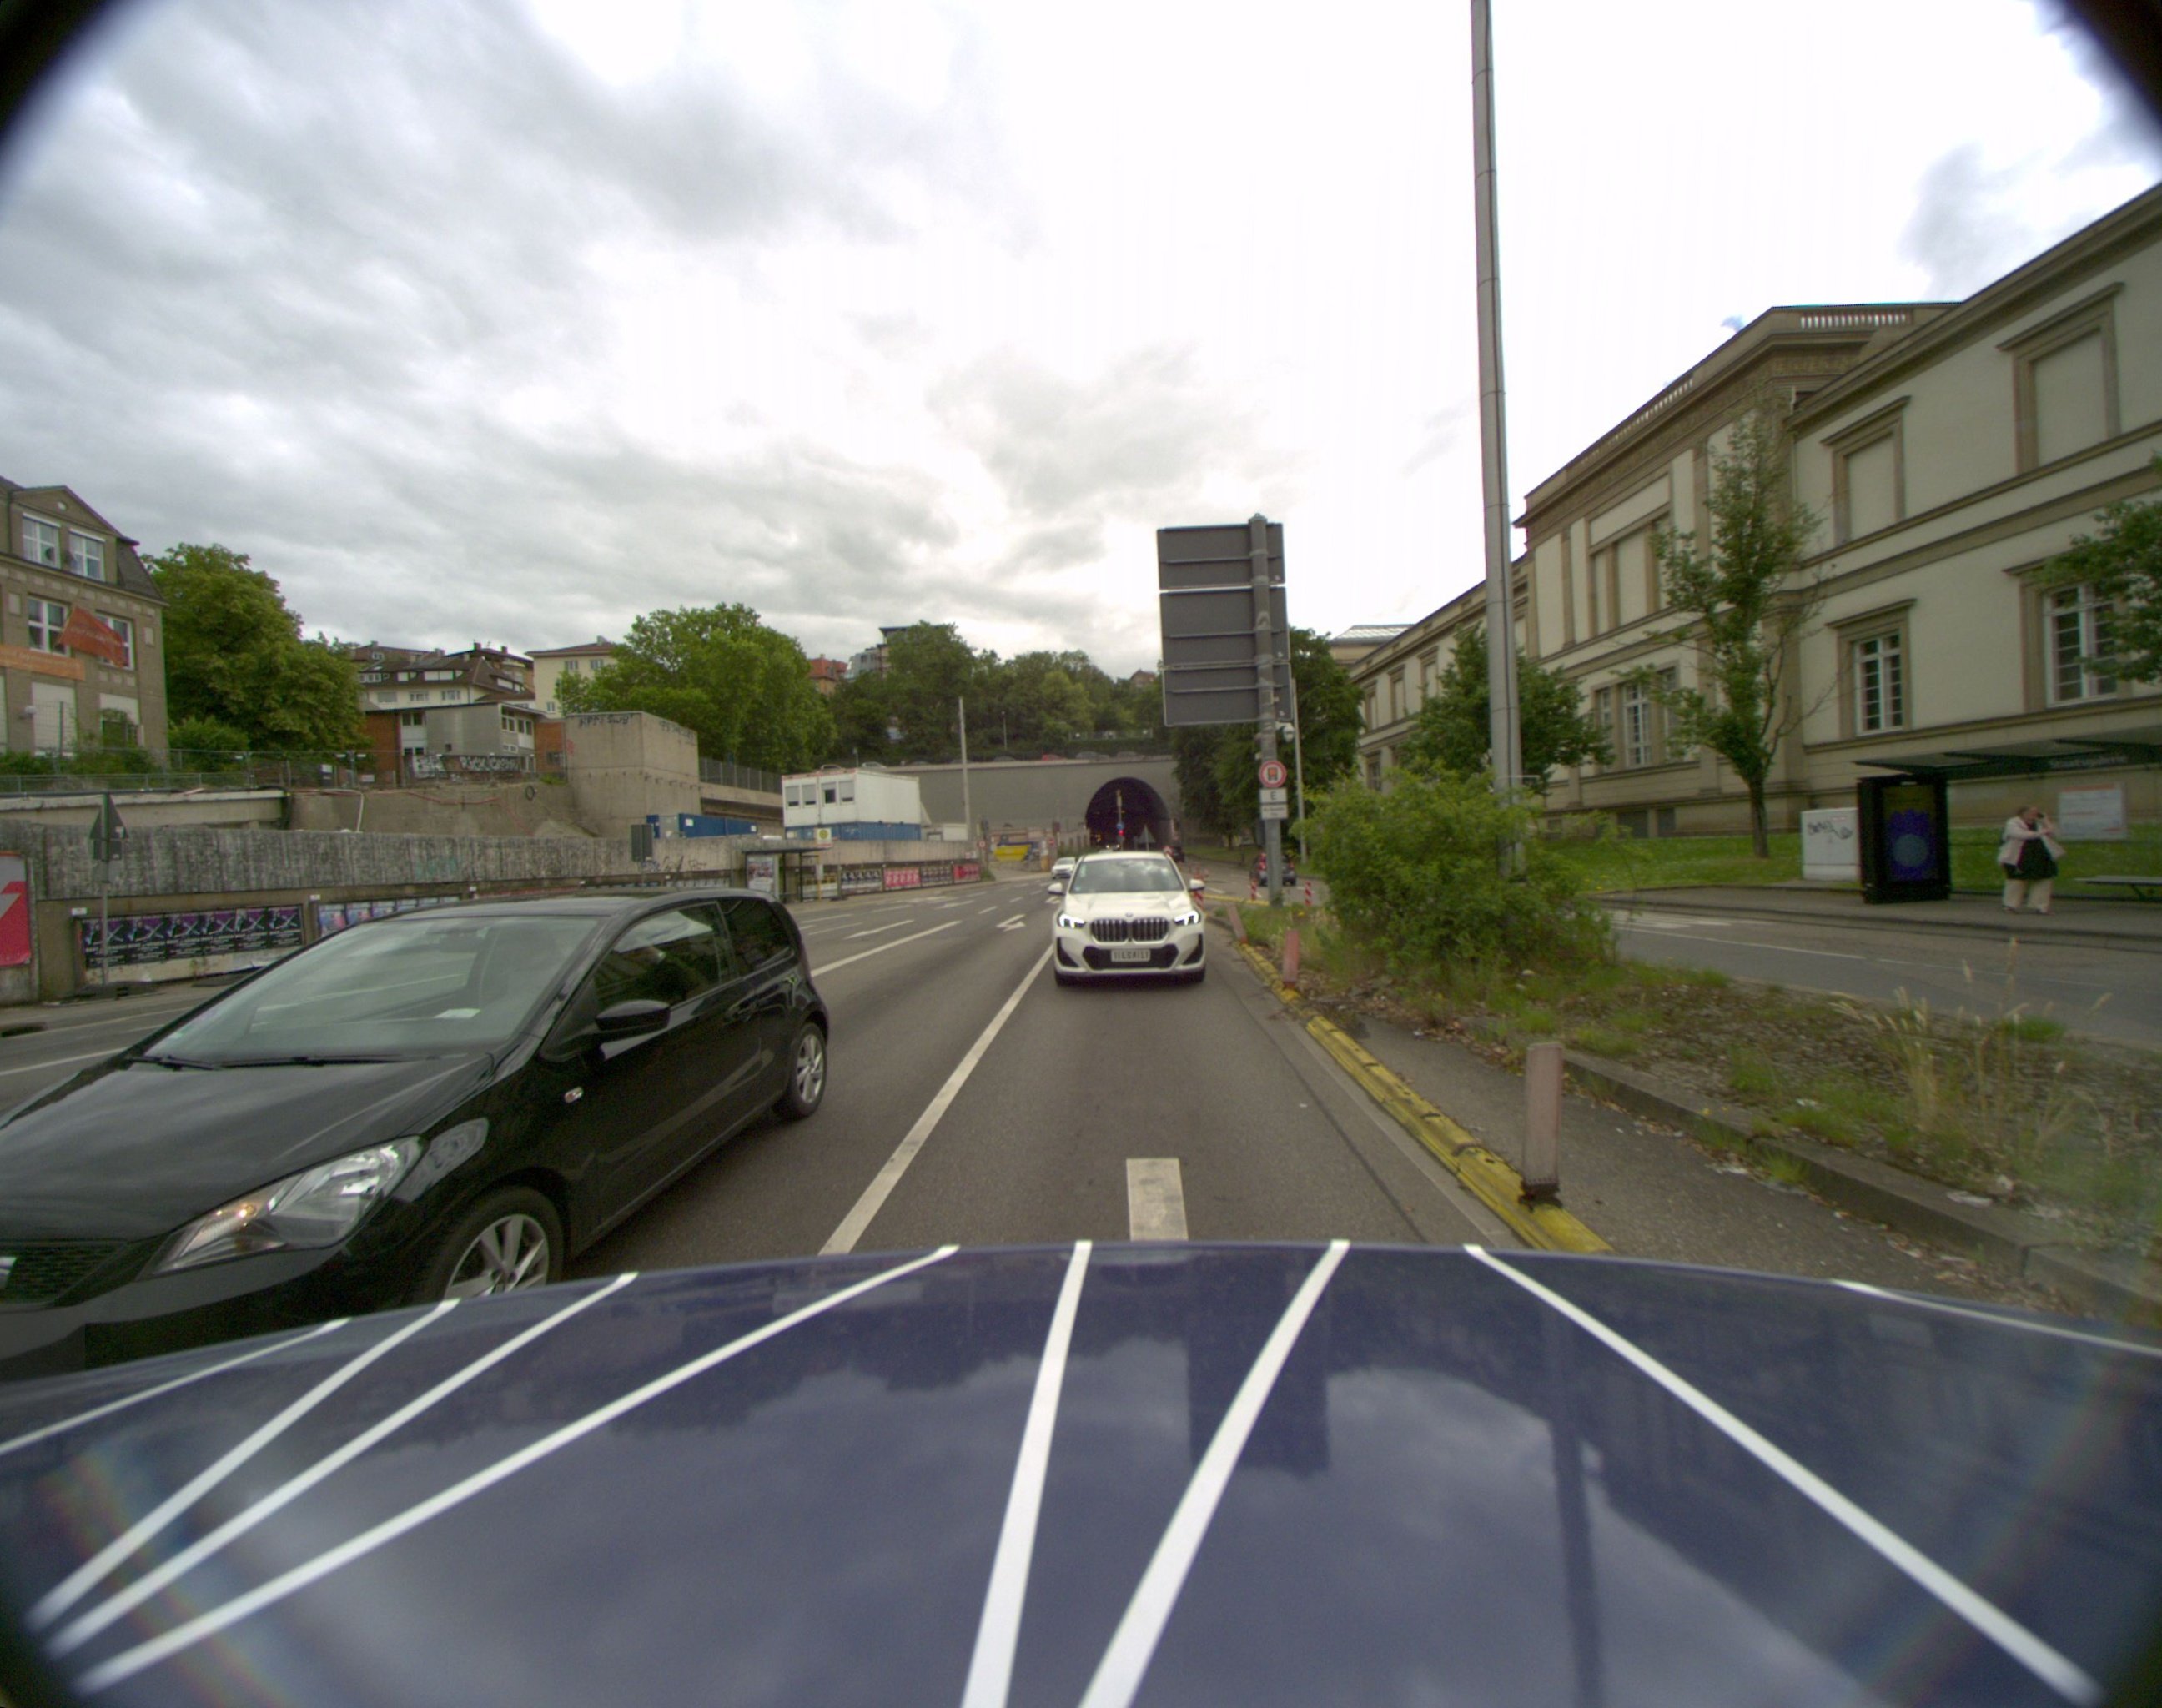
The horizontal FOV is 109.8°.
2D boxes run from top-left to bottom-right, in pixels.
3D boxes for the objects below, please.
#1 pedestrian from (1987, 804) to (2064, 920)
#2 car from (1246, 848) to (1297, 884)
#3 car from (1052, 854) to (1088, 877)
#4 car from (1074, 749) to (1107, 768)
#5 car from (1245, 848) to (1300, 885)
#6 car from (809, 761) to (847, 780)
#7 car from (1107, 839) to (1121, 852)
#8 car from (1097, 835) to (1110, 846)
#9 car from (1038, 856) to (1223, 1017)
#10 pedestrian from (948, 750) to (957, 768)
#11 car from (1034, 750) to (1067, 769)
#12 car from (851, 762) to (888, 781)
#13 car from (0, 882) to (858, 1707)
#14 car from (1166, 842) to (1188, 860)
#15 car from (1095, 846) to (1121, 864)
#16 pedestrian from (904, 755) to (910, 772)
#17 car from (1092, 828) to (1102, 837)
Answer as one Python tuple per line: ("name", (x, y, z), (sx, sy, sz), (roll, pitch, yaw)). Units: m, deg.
("pedestrian", (14.135, 0.123, 11.386), (0.586, 1.685, 0.459), (-2, 1, 35))
("car", (8.728, 0.534, 35.038), (1.539, 1.542, 2.823), (-2, 0, -2))
("car", (-0.768, 0.792, 54.944), (1.662, 1.471, 4.003), (-3, 0, 12))
("car", (1.130, -11.855, 94.476), (3.998, 2.002, 1.999), (-2, 1, -2))
("car", (8.884, 0.553, 35.527), (1.667, 1.582, 3.882), (-1, 0, 2))
("car", (-31.035, -10.289, 93.308), (3.998, 2.002, 1.999), (-2, 1, -5))
("car", (4.255, -1.097, 97.078), (1.704, 1.550, 4.551), (-3, 0, 2))
("car", (3.360, -1.958, 114.046), (1.705, 1.550, 4.550), (-3, 0, 1))
("car", (0.583, 0.872, 9.888), (1.848, 1.581, 3.882), (-3, 0, 2))
("pedestrian", (-15.358, -11.367, 90.954), (0.851, 2.002, 0.905), (-3, 1, -3))
("car", (-3.748, -11.677, 94.393), (3.998, 2.002, 1.999), (-2, 1, -2))
("car", (-25.986, -10.101, 93.371), (3.998, 2.002, 1.999), (-2, 1, -5))
("car", (-2.503, 0.987, 3.406), (1.667, 1.487, 3.882), (-3, 0, 2))
("car", (8.931, -0.292, 71.142), (1.667, 1.582, 3.882), (-1, 0, 2))
("car", (2.648, 0.098, 73.069), (1.825, 1.562, 4.657), (-3, 0, 10))
("pedestrian", (-21.436, -11.158, 93.597), (0.581, 2.002, 0.577), (-2, 1, -3))
("car", (2.769, -3.790, 134.692), (1.728, 1.310, 4.000), (-3, 0, 1))
